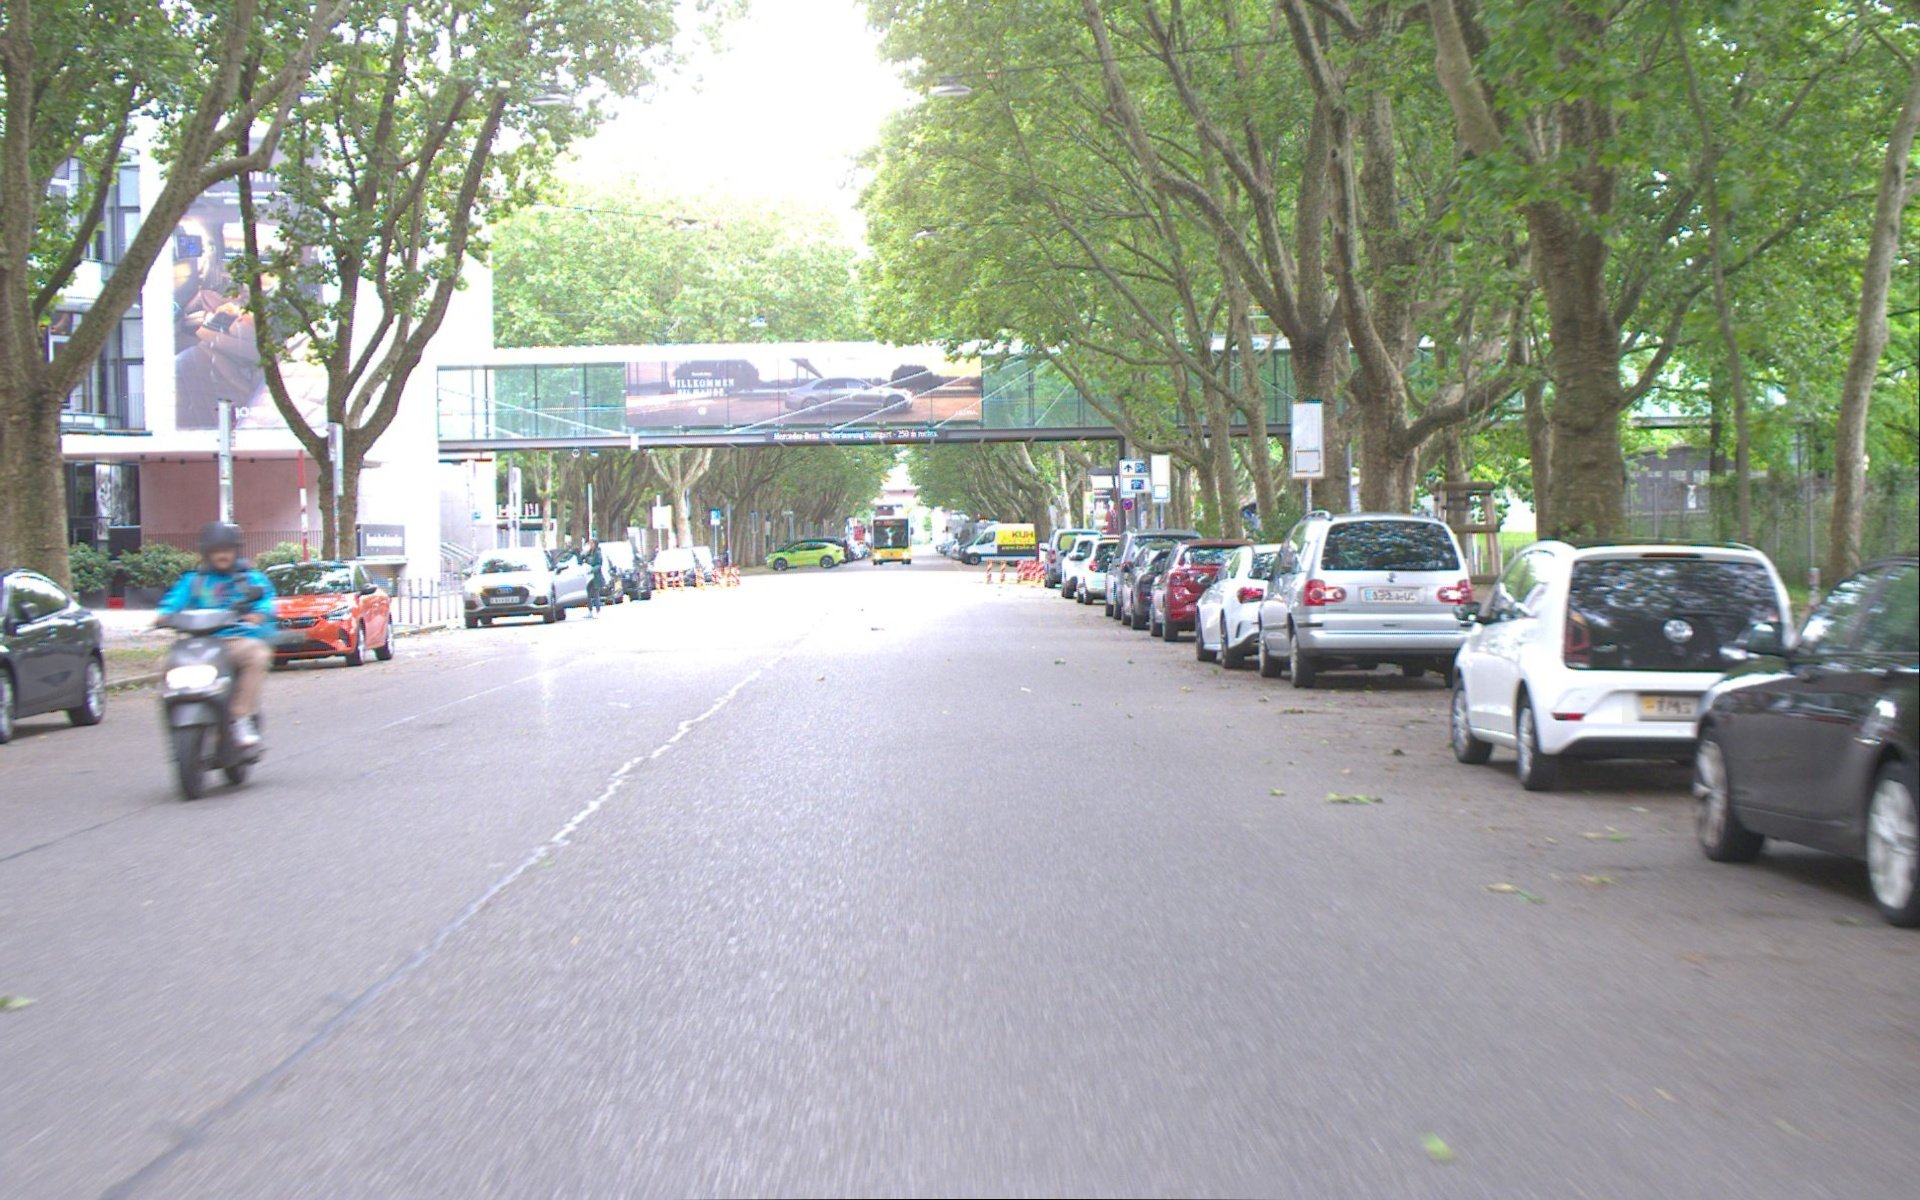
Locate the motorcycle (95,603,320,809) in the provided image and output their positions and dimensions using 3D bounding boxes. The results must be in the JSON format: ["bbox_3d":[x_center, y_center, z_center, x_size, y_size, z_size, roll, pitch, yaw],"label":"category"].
[{"bbox_3d":[-4.502,0.596,20.790,0.873,1.075,3.053,-1,1,-4],"label":"motorcycle"}]

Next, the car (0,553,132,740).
[{"bbox_3d":[-8.521,0.385,28.918,1.827,1.460,4.627,-2,1,2],"label":"car"}]

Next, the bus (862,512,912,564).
[{"bbox_3d":[-4.753,-3.967,223.753,3.038,3.149,12.678,-3,1,-1],"label":"bus"}]

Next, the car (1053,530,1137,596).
[{"bbox_3d":[3.413,-0.957,87.728,1.914,1.612,4.749,-1,1,0],"label":"car"}]

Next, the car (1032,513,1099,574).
[{"bbox_3d":[3.179,-1.710,104.438,1.847,1.777,5.211,0,1,0],"label":"car"}]

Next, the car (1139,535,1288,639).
[{"bbox_3d":[3.771,-0.224,51.750,1.856,1.476,4.178,-1,1,-1],"label":"car"}]

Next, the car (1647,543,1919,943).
[{"bbox_3d":[4.216,0.485,14.163,1.707,1.410,4.362,0,1,-3],"label":"car"}]

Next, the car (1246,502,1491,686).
[{"bbox_3d":[4.082,-0.097,35.059,1.903,1.733,4.507,-1,1,-1],"label":"car"}]

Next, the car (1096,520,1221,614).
[{"bbox_3d":[3.729,-0.633,65.319,1.981,1.674,4.732,-1,1,-1],"label":"car"}]

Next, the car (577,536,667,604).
[{"bbox_3d":[-9.813,-0.904,100.092,2.034,1.783,4.908,-4,1,0],"label":"car"}]

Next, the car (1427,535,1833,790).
[{"bbox_3d":[4.021,0.314,21.234,1.707,1.422,3.889,0,1,0],"label":"car"}]

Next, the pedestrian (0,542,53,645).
[{"bbox_3d":[-14.823,-0.106,54.475,0.592,1.614,0.791,-1,1,9],"label":"pedestrian"}]

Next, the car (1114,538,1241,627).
[{"bbox_3d":[3.655,-0.322,58.423,1.877,1.422,4.480,-1,1,0],"label":"car"}]

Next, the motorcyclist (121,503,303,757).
[{"bbox_3d":[-4.507,0.162,20.792,0.870,1.475,1.265,-1,1,-4],"label":"motorcyclist"}]

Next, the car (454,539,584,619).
[{"bbox_3d":[-9.090,-0.464,71.263,2.073,1.557,4.756,-1,1,0],"label":"car"}]

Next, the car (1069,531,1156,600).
[{"bbox_3d":[3.512,-0.807,79.645,1.807,1.521,4.096,-1,1,0],"label":"car"}]

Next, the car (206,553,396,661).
[{"bbox_3d":[-8.911,0.059,46.797,1.808,1.349,4.000,-1,1,0],"label":"car"}]

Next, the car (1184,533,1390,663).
[{"bbox_3d":[3.774,-0.064,40.387,1.877,1.422,4.586,-1,1,-1],"label":"car"}]

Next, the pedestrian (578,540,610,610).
[{"bbox_3d":[-7.717,-0.526,72.482,0.584,1.461,0.567,0,1,3],"label":"pedestrian"}]

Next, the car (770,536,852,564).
[{"bbox_3d":[-8.848,-2.953,204.438,4.700,1.579,1.864,-1,1,1],"label":"car"}]

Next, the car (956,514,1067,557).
[{"bbox_3d":[3.196,-4.025,214.537,6.822,2.505,2.317,-1,1,-2],"label":"car"}]
